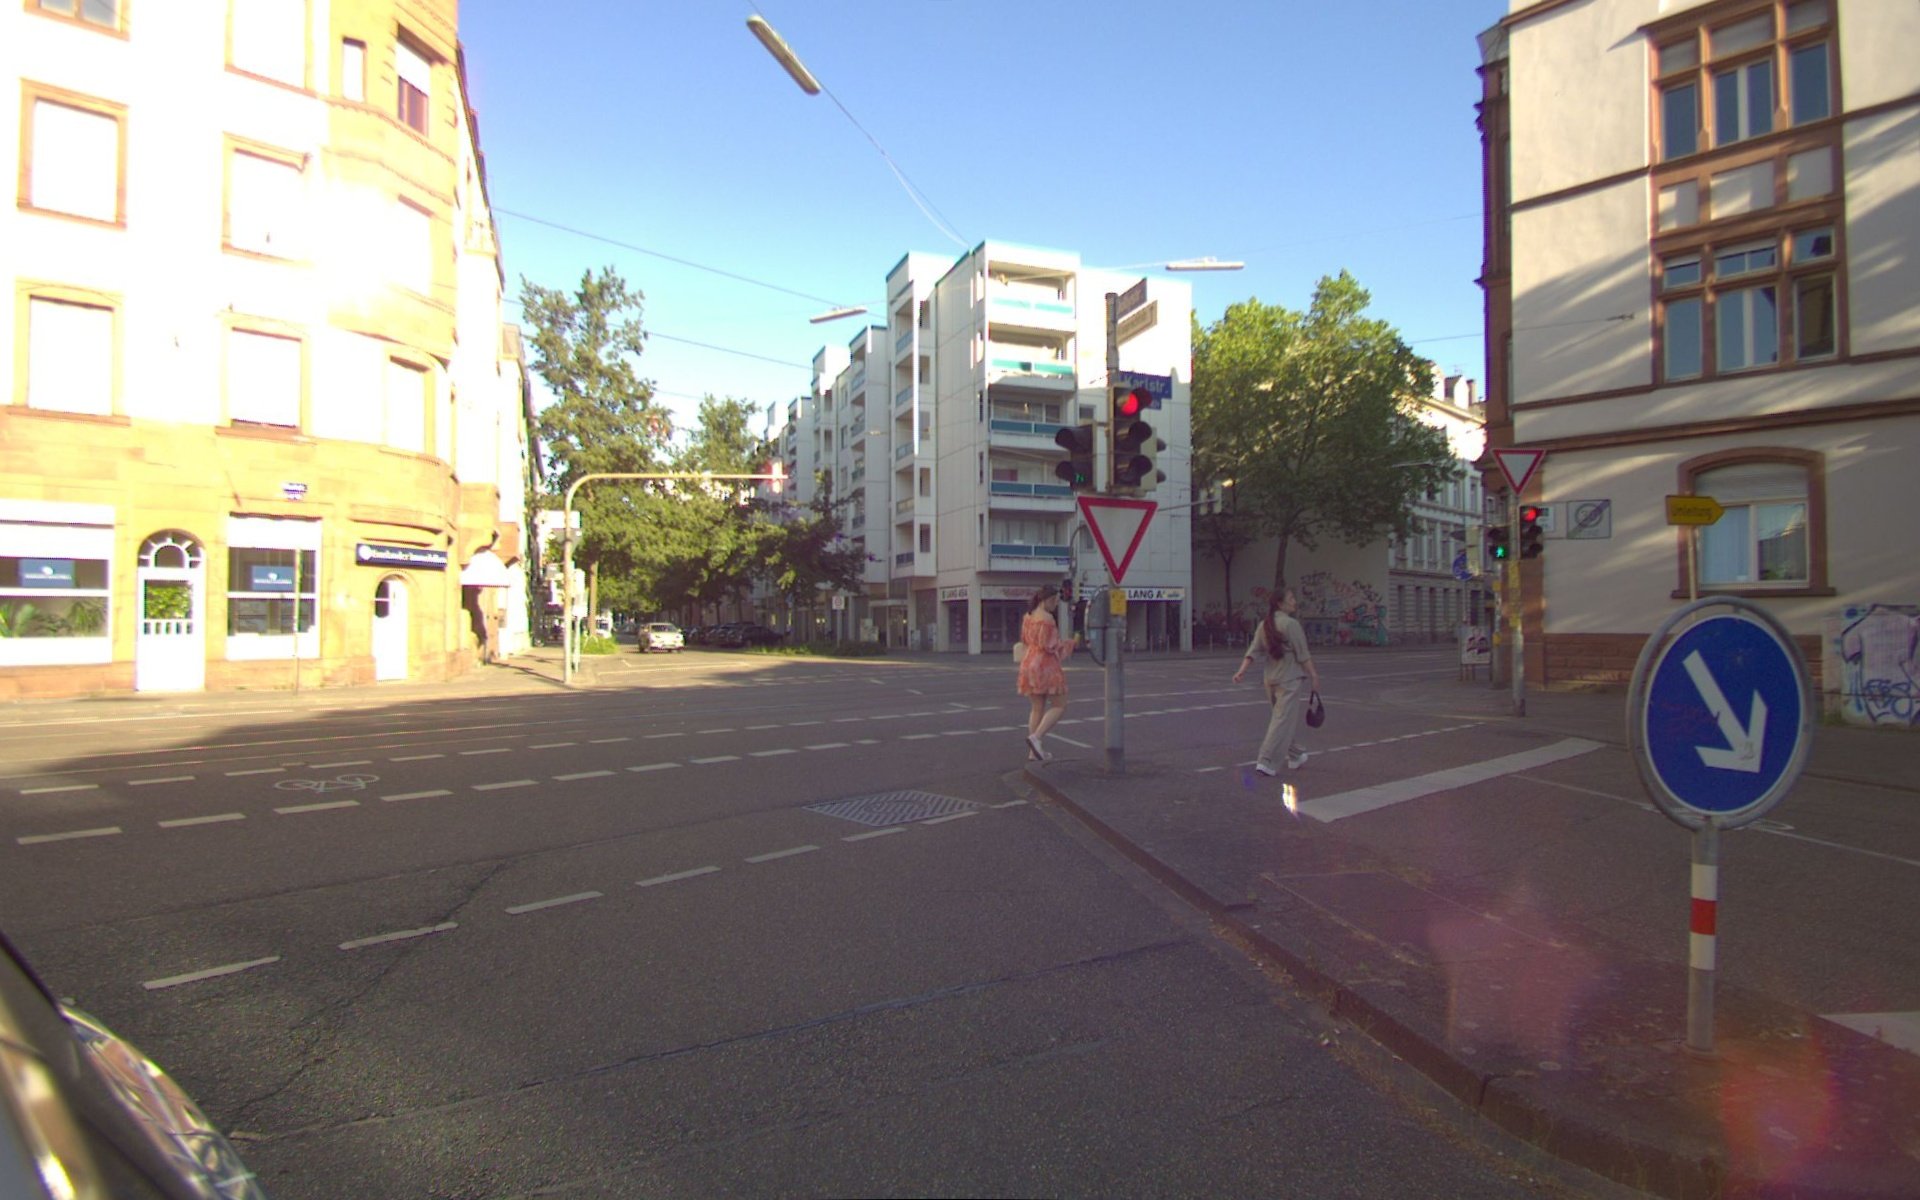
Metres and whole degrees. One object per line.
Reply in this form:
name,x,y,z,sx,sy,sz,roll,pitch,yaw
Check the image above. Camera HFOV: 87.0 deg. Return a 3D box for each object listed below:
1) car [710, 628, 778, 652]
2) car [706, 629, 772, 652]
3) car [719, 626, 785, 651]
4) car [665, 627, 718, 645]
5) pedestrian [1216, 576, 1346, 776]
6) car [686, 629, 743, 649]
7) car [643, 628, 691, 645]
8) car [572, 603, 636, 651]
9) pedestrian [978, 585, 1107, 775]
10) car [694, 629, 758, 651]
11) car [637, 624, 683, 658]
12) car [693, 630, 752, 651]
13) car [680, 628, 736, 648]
car,-14.973,2.737,70.315,4.230,1.597,2.006,1,-2,-29
car,-15.883,2.919,72.745,4.230,1.597,2.006,1,-2,-29
car,-13.964,2.574,68.080,3.931,1.597,2.006,1,-2,-29
car,-23.901,3.212,90.115,4.230,1.597,2.006,1,-2,-27
pedestrian,2.965,0.670,9.324,0.868,1.710,0.972,-1,-2,36
car,-20.322,3.194,83.713,4.230,1.597,2.006,1,-2,-27
car,-28.749,3.532,99.217,4.230,1.597,2.006,1,-2,-27
car,-25.239,1.921,71.491,3.268,3.203,8.109,1,-2,-26
pedestrian,0.804,0.740,9.776,0.868,1.710,0.972,-1,-2,36
car,-17.267,2.923,74.768,4.230,1.597,2.006,1,-2,-29
car,-16.684,2.241,56.126,1.965,1.763,4.013,0,-2,-23
car,-18.918,3.184,80.728,4.230,1.597,2.006,1,-2,-27
car,-21.406,3.201,85.879,4.230,1.597,2.006,1,-2,-27
